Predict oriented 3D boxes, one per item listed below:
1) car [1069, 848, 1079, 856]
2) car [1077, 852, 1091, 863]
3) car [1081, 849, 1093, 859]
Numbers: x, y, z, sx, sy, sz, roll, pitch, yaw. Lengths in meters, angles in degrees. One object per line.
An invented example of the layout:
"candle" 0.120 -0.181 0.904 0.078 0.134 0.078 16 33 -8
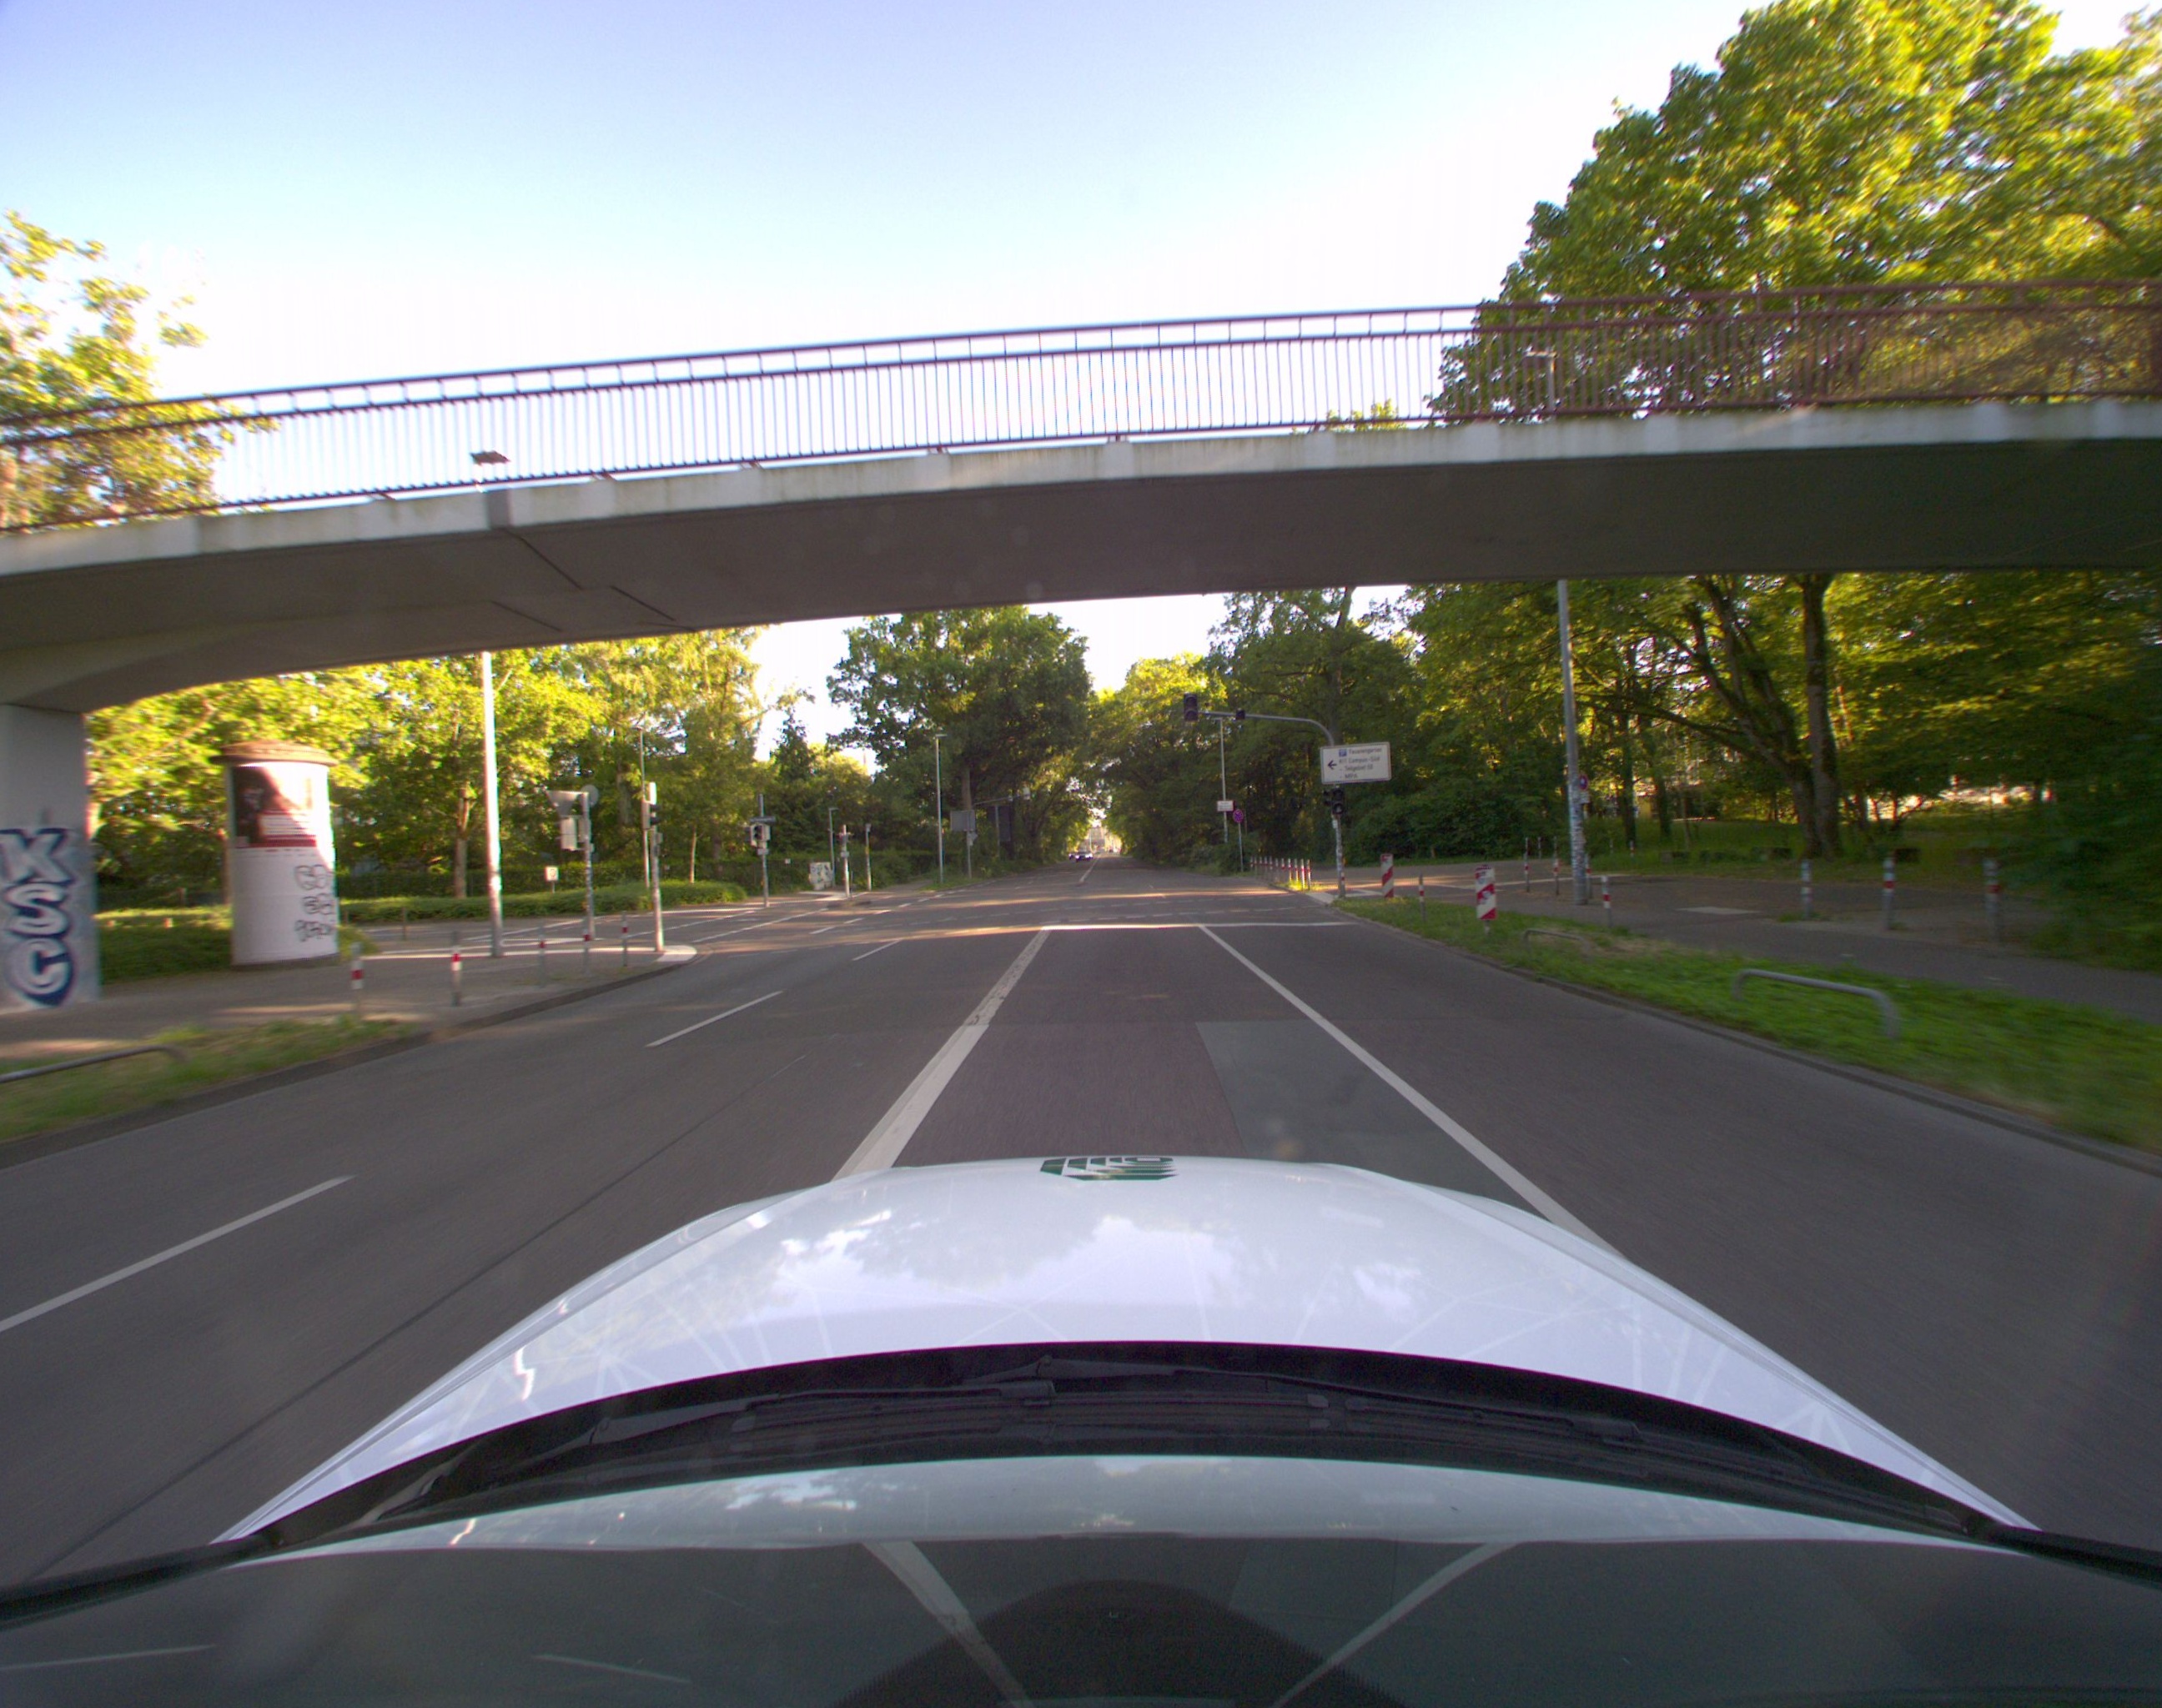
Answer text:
"car" -1.348 -0.376 153.813 1.791 1.506 4.364 -3 0 1
"car" 0.403 0.475 112.801 1.881 1.506 4.364 -3 0 1
"car" 1.018 0.016 136.846 1.791 1.506 4.364 -3 0 1
